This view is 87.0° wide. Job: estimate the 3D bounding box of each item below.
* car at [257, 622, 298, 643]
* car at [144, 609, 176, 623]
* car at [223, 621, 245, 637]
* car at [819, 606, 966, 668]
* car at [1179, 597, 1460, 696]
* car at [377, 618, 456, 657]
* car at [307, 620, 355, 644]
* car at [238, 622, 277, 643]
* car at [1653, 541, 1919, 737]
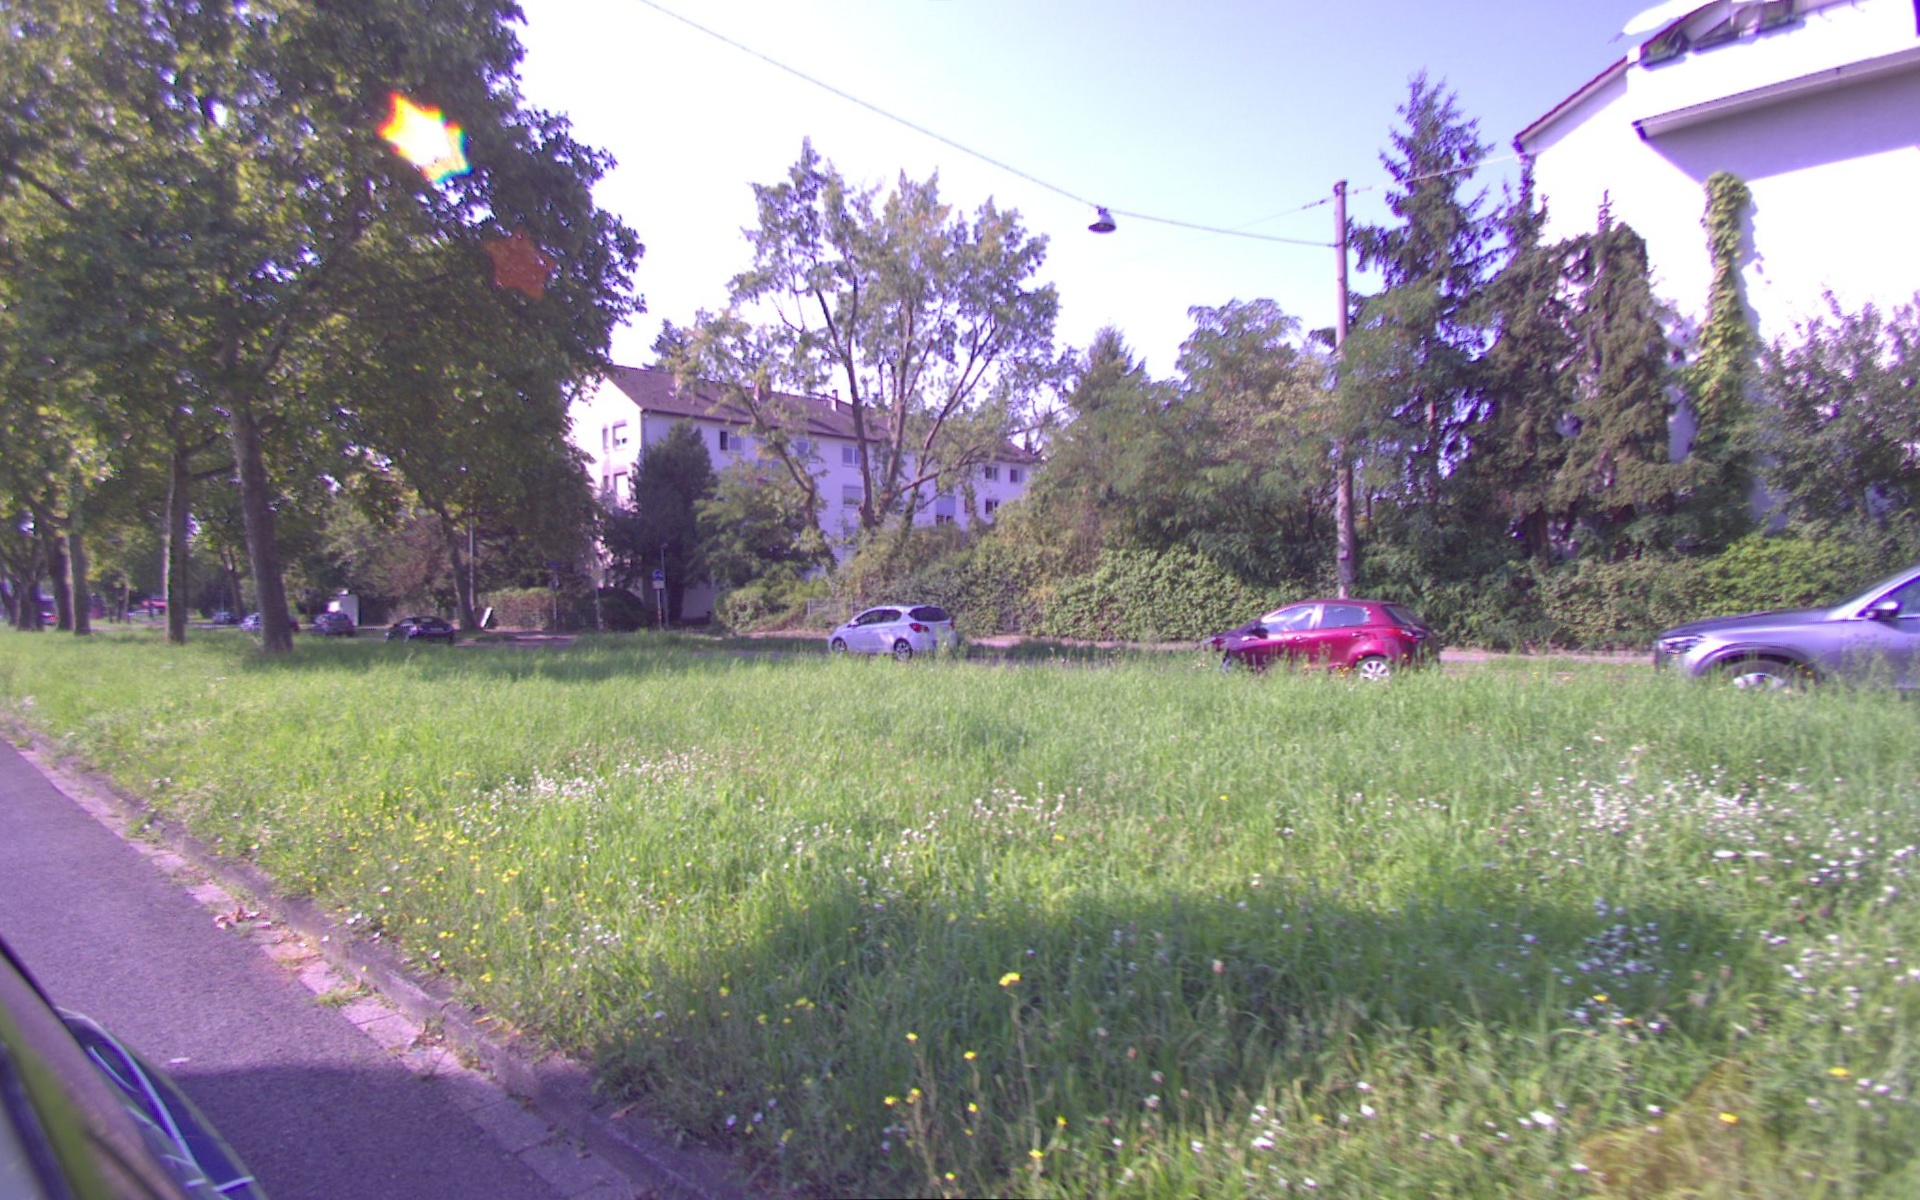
[{"bbox_3d":[-46.171,2.203,68.410,3.524,1.301,1.591,-1,1,44],"label":"car"},{"bbox_3d":[-131.292,2.631,166.099,3.966,2.109,1.834,-1,-1,-44],"label":"car"},{"bbox_3d":[-82.920,3.302,115.566,1.625,1.684,3.738,-1,-1,-42],"label":"car"},{"bbox_3d":[-1.858,0.963,27.061,3.897,1.490,1.628,-1,1,42],"label":"car"},{"bbox_3d":[5.674,0.714,16.231,3.896,1.374,1.629,-2,0,40],"label":"car"},{"bbox_3d":[-22.501,1.531,41.854,3.897,1.490,1.628,-1,1,42],"label":"car"},{"bbox_3d":[-37.623,1.892,60.524,3.524,1.301,1.591,-1,1,44],"label":"car"},{"bbox_3d":[-49.795,2.281,71.706,3.523,1.417,1.591,-2,-1,44],"label":"car"},{"bbox_3d":[8.979,0.291,8.652,4.855,1.628,1.756,-1,1,42],"label":"car"}]
